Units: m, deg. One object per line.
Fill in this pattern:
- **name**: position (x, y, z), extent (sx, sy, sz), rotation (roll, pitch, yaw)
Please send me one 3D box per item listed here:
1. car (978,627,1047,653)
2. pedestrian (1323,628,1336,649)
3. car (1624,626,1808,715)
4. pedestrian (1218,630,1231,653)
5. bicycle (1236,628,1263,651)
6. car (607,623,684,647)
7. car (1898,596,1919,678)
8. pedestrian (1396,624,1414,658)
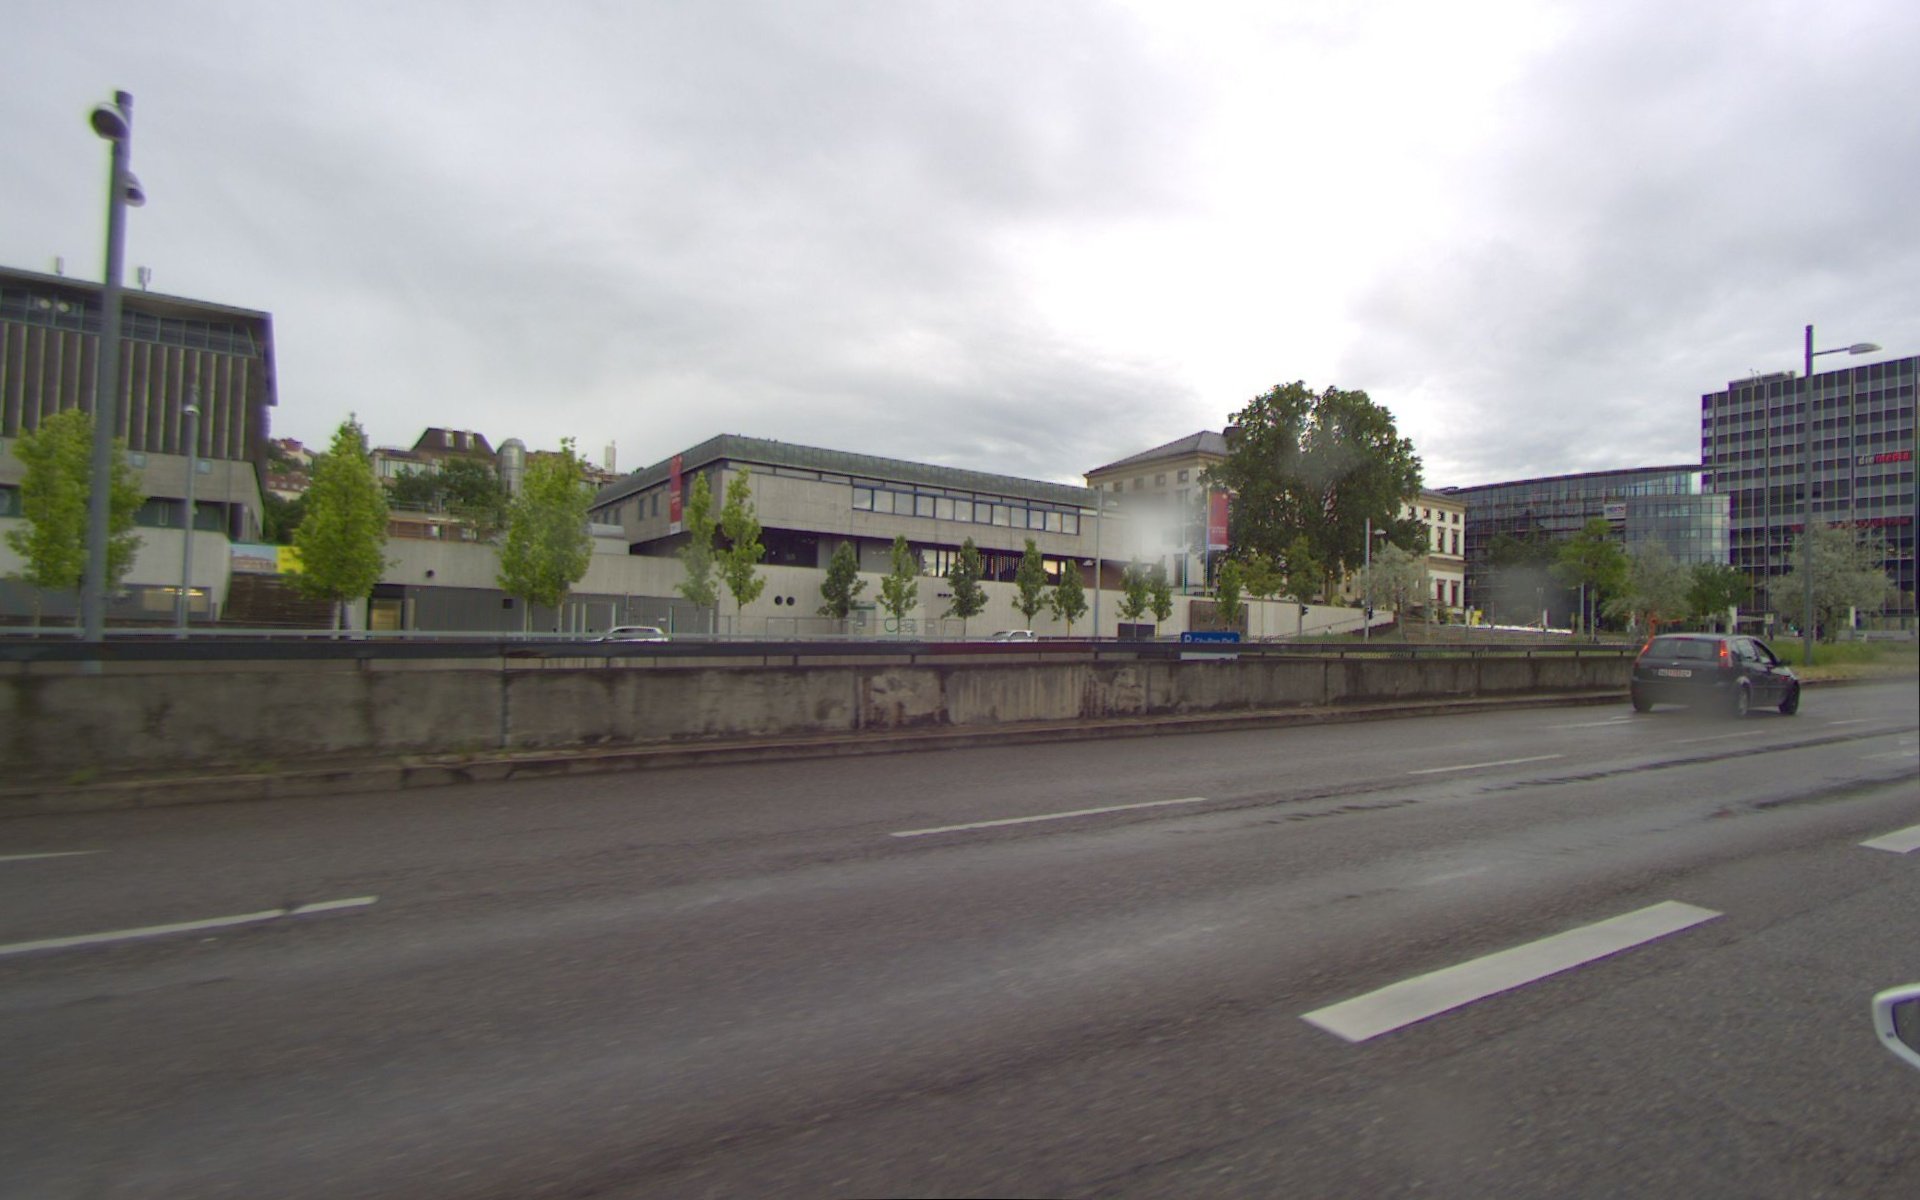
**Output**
- **car**: position (2.470, 1.882, 47.112), extent (2.990, 1.129, 1.431), rotation (3, -2, -34)
- **pedestrian**: position (25.917, 2.704, 70.423), extent (0.622, 1.441, 0.492), rotation (3, -1, -14)
- **car**: position (13.860, 1.272, 18.360), extent (3.862, 1.434, 1.532), rotation (3, -2, -34)
- **pedestrian**: position (16.604, 2.591, 63.084), extent (0.570, 1.401, 0.465), rotation (3, -1, -28)
- **bicycle**: position (17.755, 2.423, 61.582), extent (1.460, 1.325, 0.554), rotation (1, -2, 43)
- **car**: position (-11.545, 1.293, 36.929), extent (2.531, 0.755, 0.813), rotation (3, -2, -37)
- **car**: position (29.926, 1.190, 29.545), extent (4.953, 2.344, 2.279), rotation (3, -2, -33)
- **pedestrian**: position (28.629, 2.609, 64.631), extent (0.716, 2.120, 0.764), rotation (-4, 2, -25)
